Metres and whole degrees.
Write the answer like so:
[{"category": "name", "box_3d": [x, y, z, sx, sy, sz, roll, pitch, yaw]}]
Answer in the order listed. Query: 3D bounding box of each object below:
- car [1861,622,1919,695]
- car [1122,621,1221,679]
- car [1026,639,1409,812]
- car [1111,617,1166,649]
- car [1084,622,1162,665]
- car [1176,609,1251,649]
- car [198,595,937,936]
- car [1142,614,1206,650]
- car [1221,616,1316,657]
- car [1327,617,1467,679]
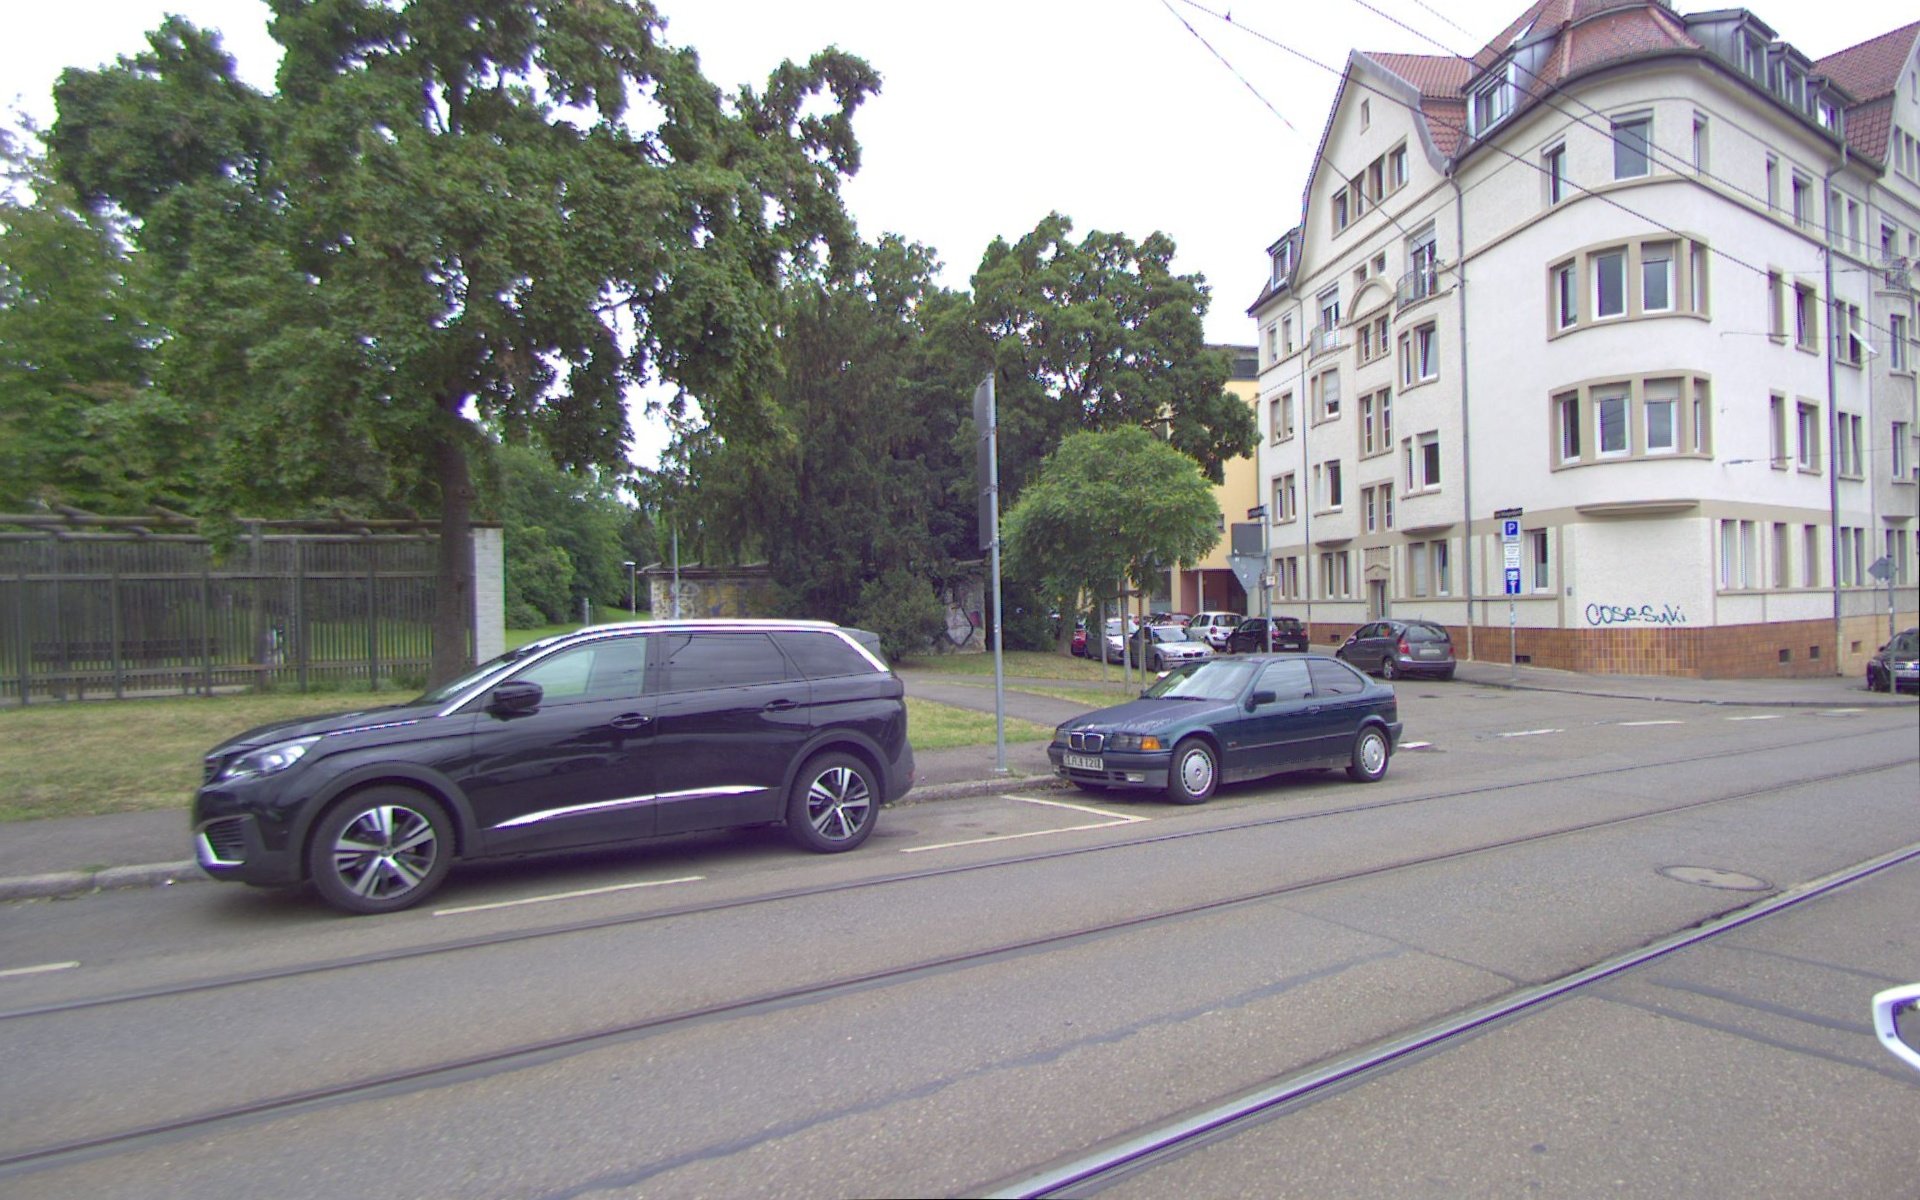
[{"category": "car", "box_3d": [23.658, 1.415, 24.240, 4.357, 1.667, 1.856, 2, -3, -34]}, {"category": "car", "box_3d": [6.189, 1.436, 29.796, 1.727, 1.459, 3.996, -1, 1, -6]}, {"category": "car", "box_3d": [2.807, 1.190, 10.583, 4.114, 1.497, 1.611, 2, -3, -34]}, {"category": "car", "box_3d": [9.078, 1.670, 51.344, 1.728, 1.564, 3.997, 0, -1, -6]}, {"category": "car", "box_3d": [5.696, 1.516, 35.549, 1.727, 1.438, 3.997, 0, -1, -6]}, {"category": "car", "box_3d": [10.406, 1.198, 41.480, 1.728, 1.564, 3.997, 0, -1, -6]}, {"category": "car", "box_3d": [-2.533, 0.942, 7.127, 4.399, 1.708, 1.957, 2, -3, -34]}, {"category": "car", "box_3d": [9.761, 1.445, 46.046, 1.728, 1.564, 3.997, 0, -1, -6]}, {"category": "car", "box_3d": [11.009, 1.297, 36.093, 1.841, 1.372, 3.997, 0, -1, -6]}, {"category": "car", "box_3d": [12.047, 1.295, 28.000, 1.841, 1.592, 3.997, 0, -1, -6]}]
